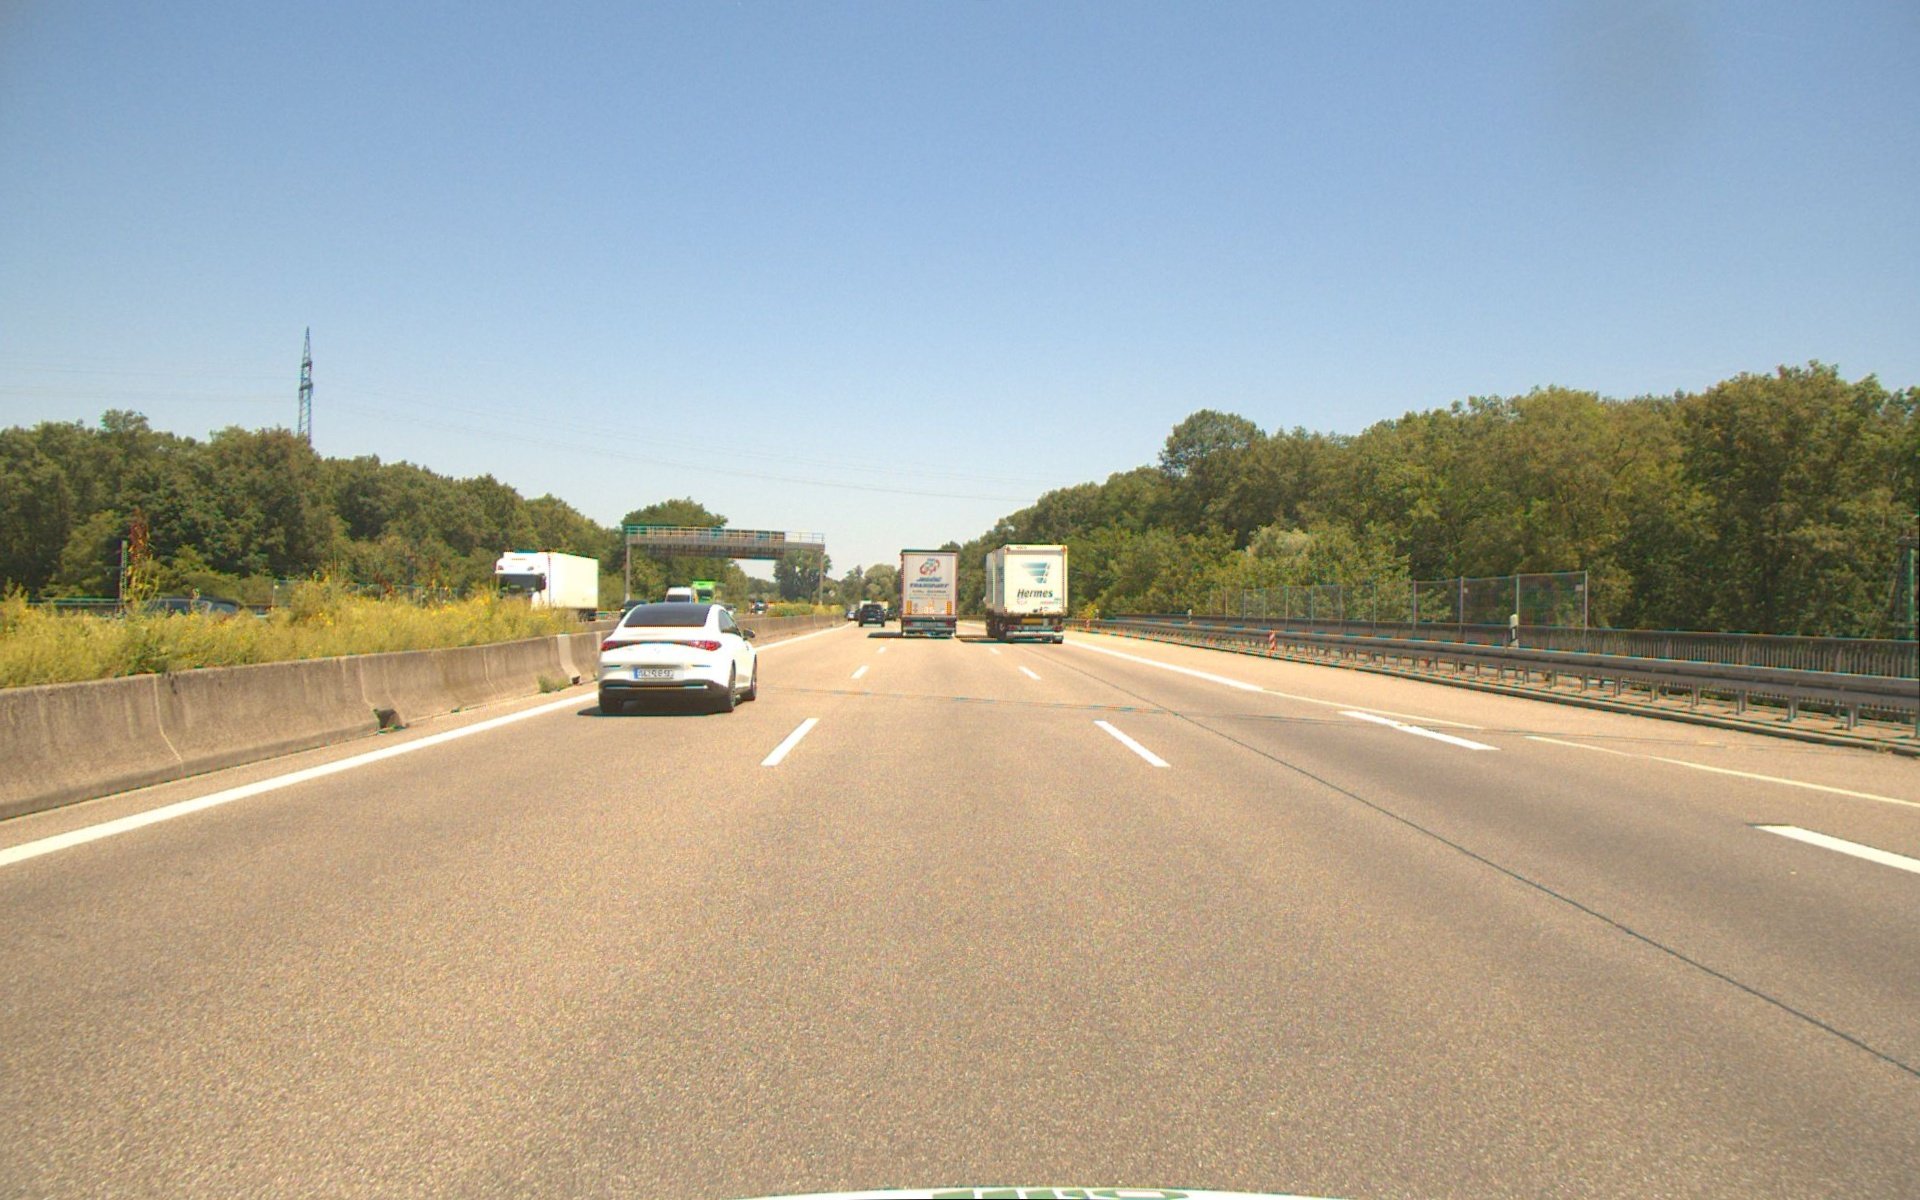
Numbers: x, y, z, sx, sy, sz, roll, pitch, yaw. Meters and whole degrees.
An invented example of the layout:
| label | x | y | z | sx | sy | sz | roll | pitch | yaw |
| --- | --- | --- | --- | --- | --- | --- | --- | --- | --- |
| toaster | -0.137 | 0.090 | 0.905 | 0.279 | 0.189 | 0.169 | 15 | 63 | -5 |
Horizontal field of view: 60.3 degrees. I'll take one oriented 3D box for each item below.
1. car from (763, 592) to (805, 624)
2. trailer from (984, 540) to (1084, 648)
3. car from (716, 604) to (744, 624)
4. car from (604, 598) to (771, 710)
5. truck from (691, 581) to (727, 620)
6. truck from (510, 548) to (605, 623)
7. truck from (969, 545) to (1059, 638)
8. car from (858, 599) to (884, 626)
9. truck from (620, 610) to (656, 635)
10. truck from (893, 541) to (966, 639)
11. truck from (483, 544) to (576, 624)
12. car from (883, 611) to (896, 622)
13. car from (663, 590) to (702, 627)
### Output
| label | x | y | z | sx | sy | sz | roll | pitch | yaw |
| --- | --- | --- | --- | --- | --- | --- | --- | --- | --- |
| car | -11.520 | 0.523 | 108.662 | 2.245 | 2.049 | 4.710 | 0 | 0 | 0 |
| trailer | 2.974 | -0.305 | 69.575 | 3.300 | 4.215 | 9.087 | 1 | 1 | -3 |
| car | -20.349 | 1.258 | 146.375 | 1.959 | 1.742 | 4.537 | 0 | 0 | -3 |
| car | -3.934 | 0.722 | 24.668 | 1.731 | 1.474 | 5.107 | 1 | 0 | -1 |
| truck | -26.722 | 0.057 | 176.204 | 2.863 | 4.009 | 6.497 | 1 | 0 | -1 |
| truck | -23.147 | -0.811 | 95.746 | 2.987 | 4.046 | 11.145 | 0 | 0 | -1 |
| truck | 2.433 | -0.465 | 78.949 | 3.260 | 4.123 | 10.947 | 1 | 1 | -3 |
| car | -6.675 | 0.924 | 124.022 | 1.954 | 1.907 | 3.998 | 1 | 1 | -3 |
| truck | -23.926 | 1.676 | 122.968 | 1.954 | 1.832 | 4.739 | 1 | 0 | -3 |
| truck | -1.502 | -0.490 | 77.265 | 3.164 | 4.275 | 8.462 | 1 | 1 | -2 |
| truck | -22.934 | -0.830 | 88.577 | 2.987 | 4.046 | 8.285 | 0 | 0 | -1 |
| car | -10.664 | 2.493 | 250.788 | 1.954 | 1.624 | 3.997 | 0 | 0 | -4 |
| car | -19.896 | 0.618 | 118.642 | 1.953 | 2.613 | 6.126 | 1 | 0 | -2 |
